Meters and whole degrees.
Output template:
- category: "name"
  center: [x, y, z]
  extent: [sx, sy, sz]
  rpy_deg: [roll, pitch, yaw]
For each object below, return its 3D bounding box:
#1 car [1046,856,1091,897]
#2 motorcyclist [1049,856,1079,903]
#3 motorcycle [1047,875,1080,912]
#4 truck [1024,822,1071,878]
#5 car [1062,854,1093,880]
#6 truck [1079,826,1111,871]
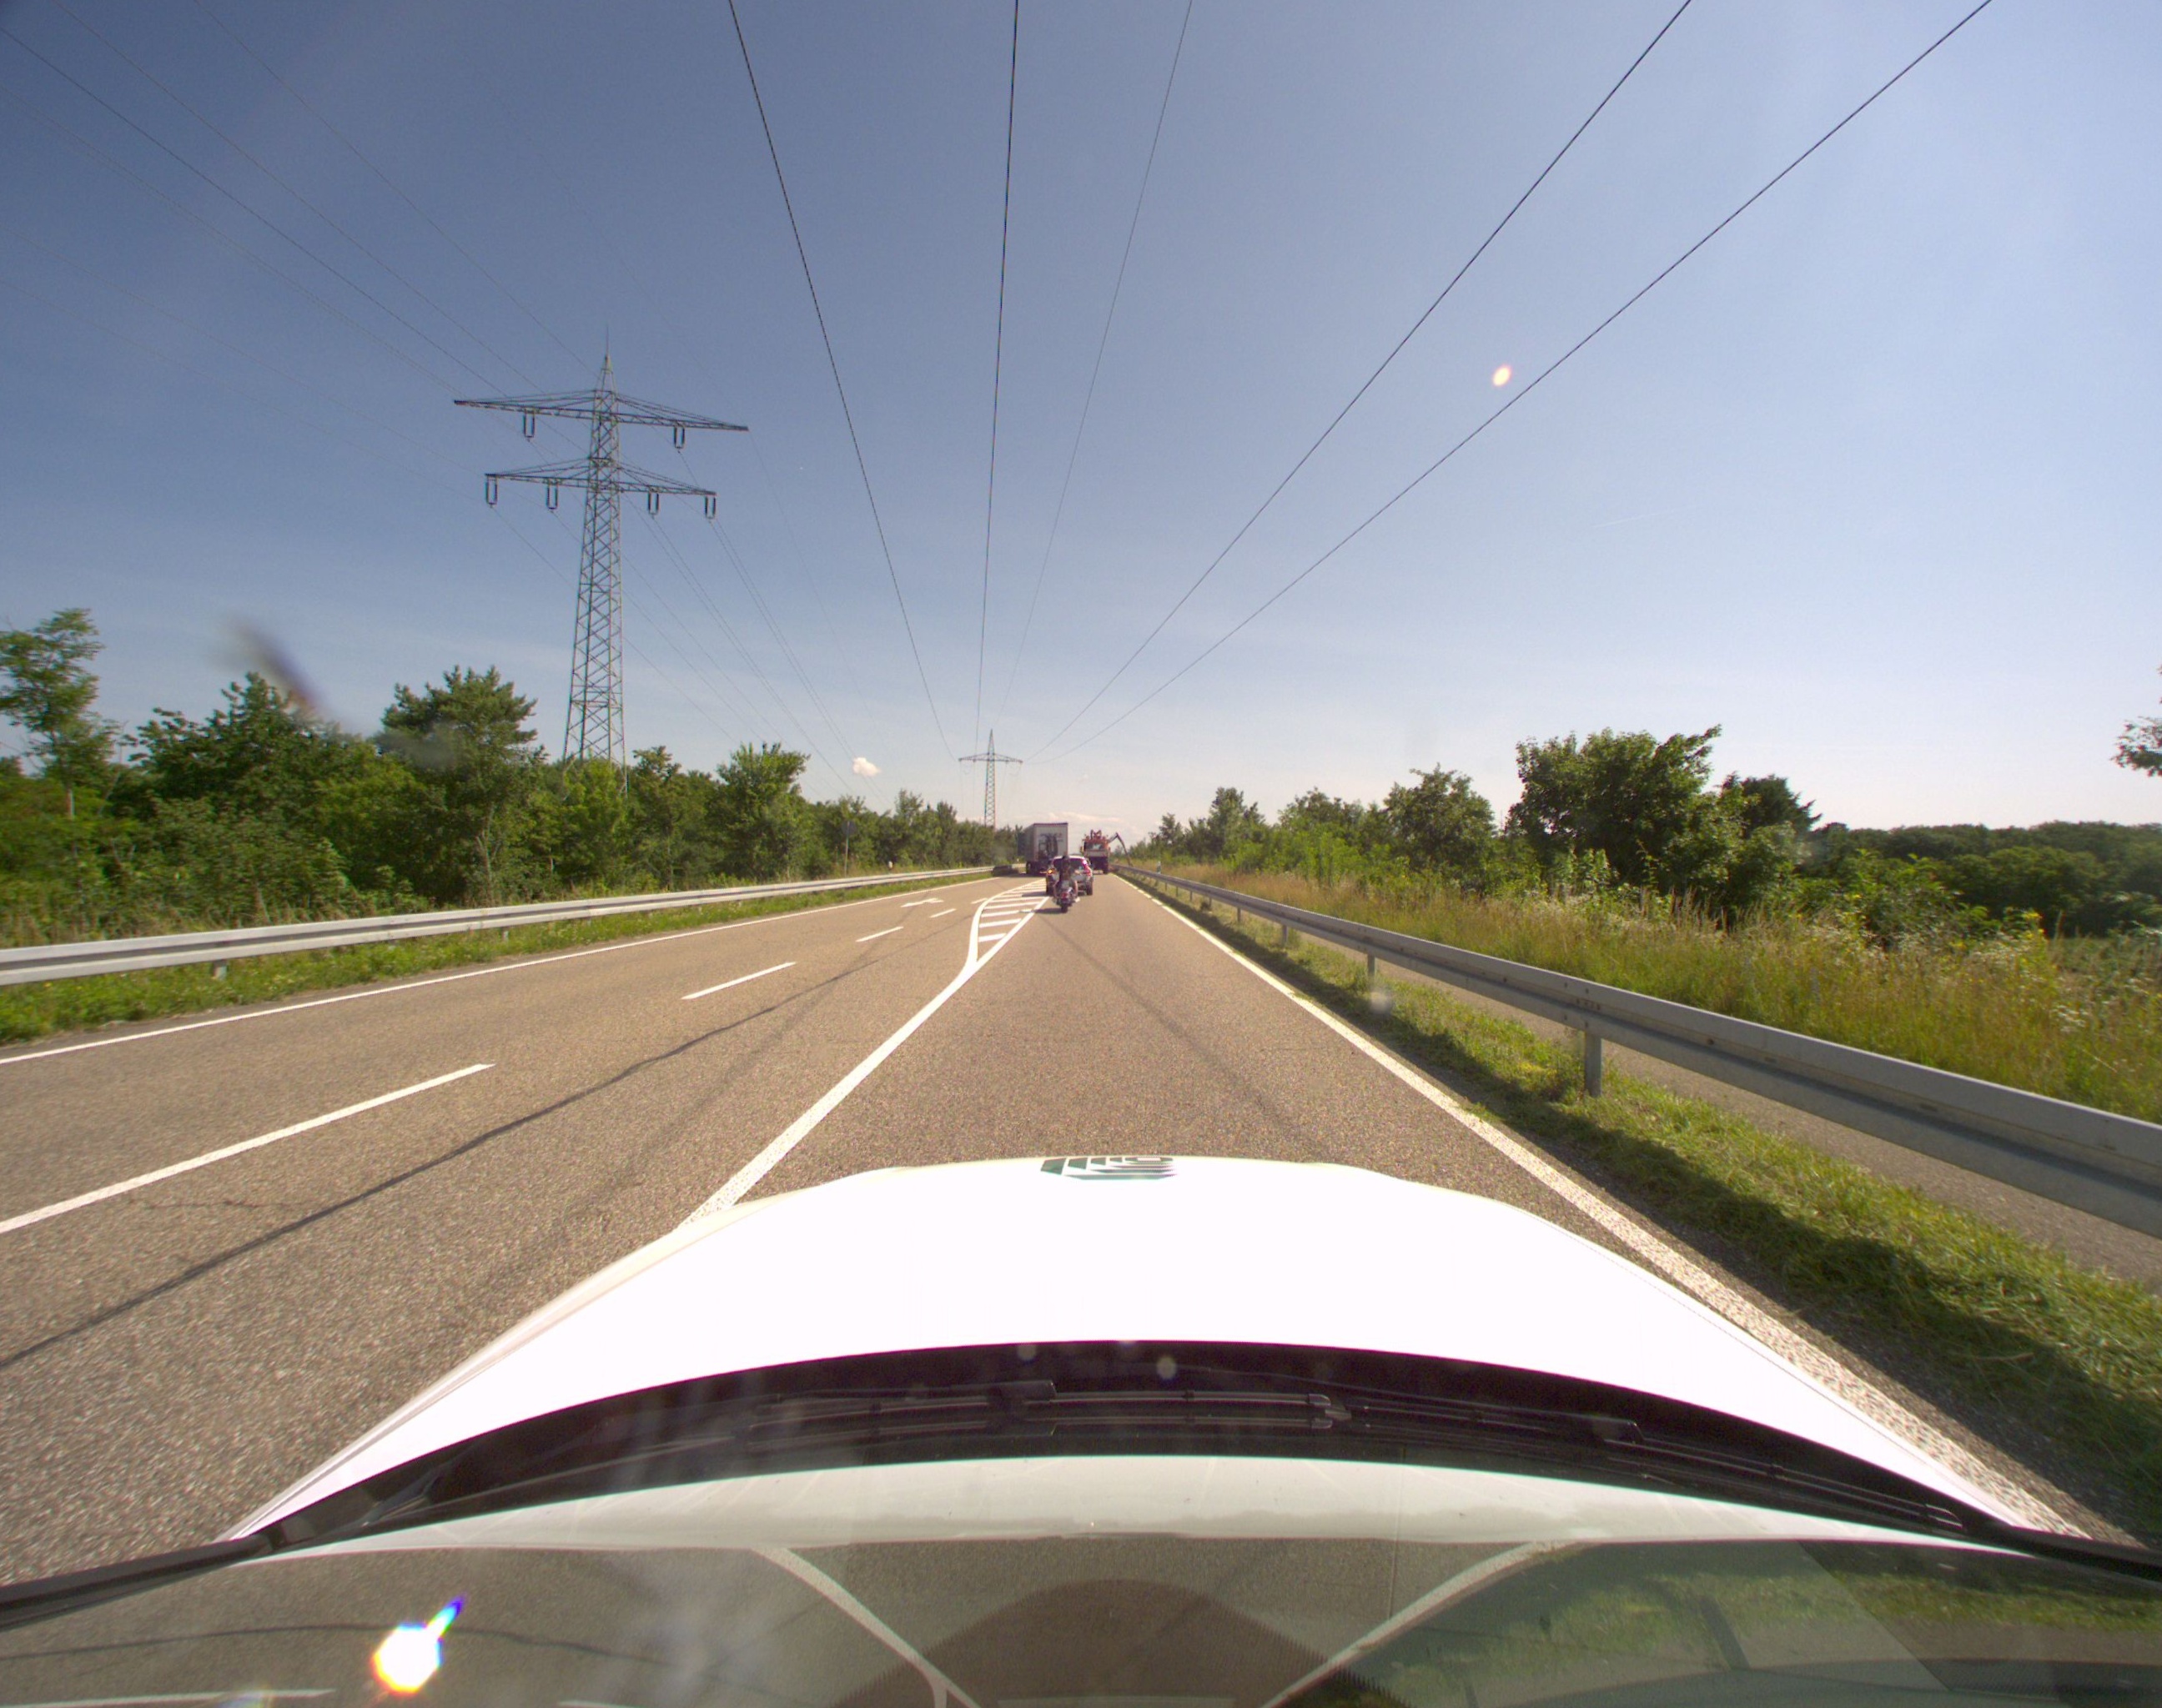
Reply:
- category: "car"
  center: [-0.516, 0.843, 32.432]
  extent: [1.696, 1.536, 3.496]
  rpy_deg: [0, 0, -2]
- category: "motorcyclist"
  center: [-0.474, 0.700, 22.676]
  extent: [0.835, 1.280, 0.919]
  rpy_deg: [0, 0, -2]
- category: "motorcycle"
  center: [-0.478, 1.082, 22.724]
  extent: [0.856, 0.915, 2.226]
  rpy_deg: [-1, 0, -1]
- category: "truck"
  center: [-2.968, -0.265, 68.025]
  extent: [2.964, 4.187, 14.789]
  rpy_deg: [0, 0, -6]
- category: "car"
  center: [-0.205, 0.771, 49.261]
  extent: [1.849, 1.490, 3.739]
  rpy_deg: [0, 0, 0]
- category: "truck"
  center: [1.138, -0.427, 70.916]
  extent: [2.605, 3.711, 6.776]
  rpy_deg: [0, 0, 0]
